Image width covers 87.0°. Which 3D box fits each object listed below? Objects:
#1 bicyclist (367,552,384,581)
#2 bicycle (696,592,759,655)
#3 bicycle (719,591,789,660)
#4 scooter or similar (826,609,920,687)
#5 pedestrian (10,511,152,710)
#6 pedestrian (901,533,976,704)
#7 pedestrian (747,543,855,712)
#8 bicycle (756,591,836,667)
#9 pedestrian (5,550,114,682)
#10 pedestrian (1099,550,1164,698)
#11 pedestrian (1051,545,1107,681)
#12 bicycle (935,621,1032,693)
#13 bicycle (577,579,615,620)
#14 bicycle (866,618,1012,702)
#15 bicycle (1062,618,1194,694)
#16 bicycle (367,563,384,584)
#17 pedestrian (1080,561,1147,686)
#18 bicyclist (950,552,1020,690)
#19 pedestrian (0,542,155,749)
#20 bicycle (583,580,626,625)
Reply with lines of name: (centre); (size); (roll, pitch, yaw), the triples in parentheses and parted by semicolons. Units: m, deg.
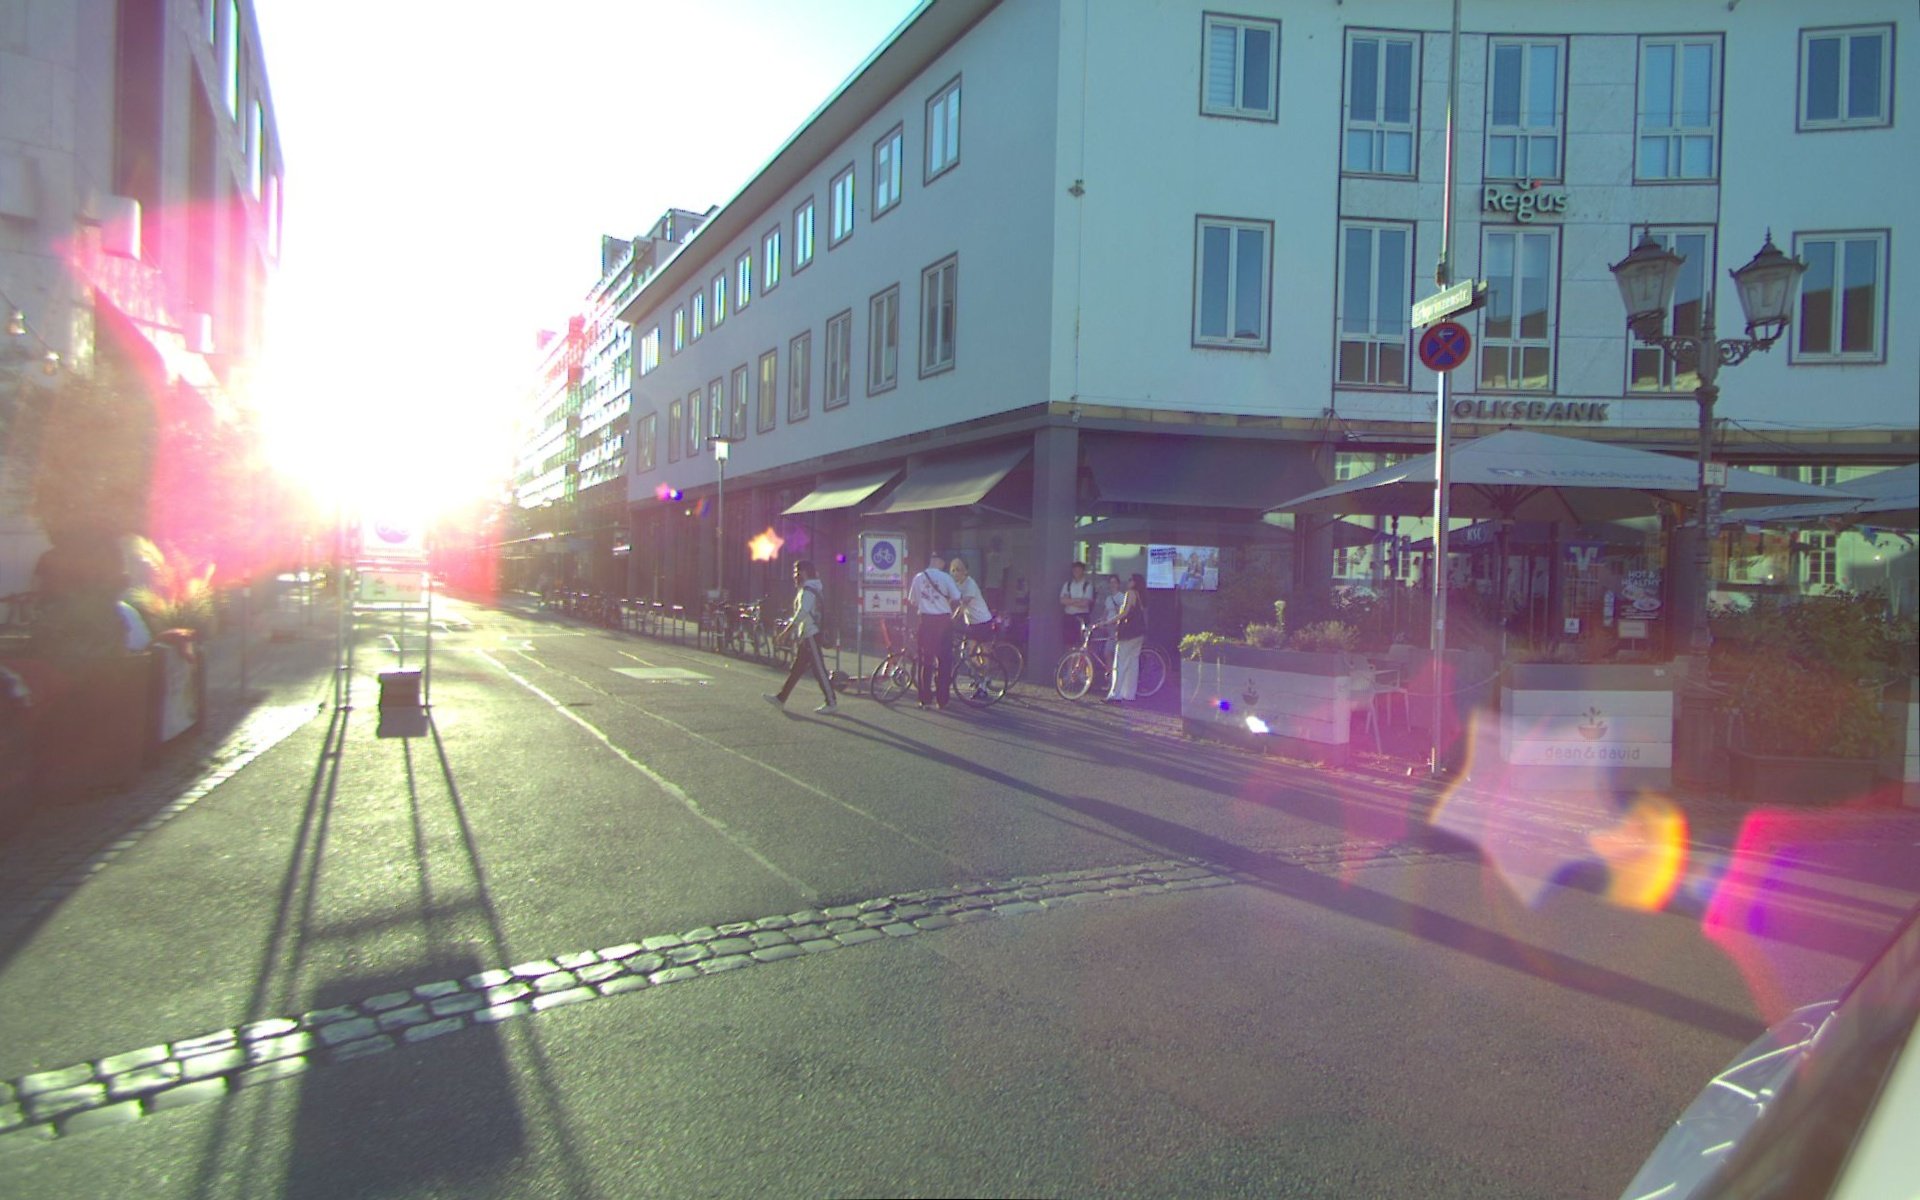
bicyclist: (-35.355, -2.027, 61.233); (0.783, 1.711, 0.900); (1, 1, -33)
bicycle: (-4.677, 0.448, 20.268); (0.512, 1.156, 1.965); (1, 1, -35)
bicycle: (-3.830, 0.440, 18.730); (0.512, 1.156, 1.965); (1, 1, -35)
scooter or similar: (-1.210, 0.661, 14.092); (1.179, 1.024, 0.488); (1, 1, -22)
pedestrian: (-8.220, 0.083, 9.482); (0.706, 1.769, 0.707); (2, 1, 13)
pedestrian: (-0.260, 0.205, 12.007); (0.615, 1.952, 0.646); (1, 1, -29)
pedestrian: (-1.745, 0.280, 11.226); (0.919, 1.762, 0.919); (2, 1, 9)
bicycle: (-2.809, 0.459, 17.149); (0.512, 1.156, 1.965); (1, 1, -35)
pedestrian: (-9.898, 0.165, 11.149); (0.675, 1.393, 0.666); (1, 1, -21)
pedestrian: (2.217, 0.287, 13.033); (0.506, 1.841, 0.709); (2, 1, 39)
pedestrian: (1.746, 0.181, 14.902); (0.578, 1.947, 0.535); (2, 1, 39)
bicycle: (0.334, 0.729, 13.432); (0.480, 0.859, 1.463); (2, 1, 39)
bicycle: (-11.891, -0.034, 32.994); (0.783, 1.232, 2.236); (1, 1, -29)
bicycle: (-0.250, 0.709, 12.038); (1.642, 0.946, 0.475); (1, 1, -16)
bicycle: (2.209, 0.741, 13.303); (1.642, 0.946, 0.475); (1, 1, -16)
bicycle: (-35.351, -1.635, 61.198); (0.783, 1.232, 2.234); (1, 1, -33)
pedestrian: (2.174, 0.310, 14.288); (0.617, 1.697, 0.723); (2, 1, 39)
bicyclist: (0.337, 0.267, 13.423); (0.480, 1.765, 0.823); (2, 1, 39)
pedestrian: (-6.780, 0.311, 7.739); (0.928, 1.465, 0.971); (1, 1, -37)
bicycle: (-10.486, 0.064, 29.784); (0.783, 1.232, 2.236); (1, 1, -29)
